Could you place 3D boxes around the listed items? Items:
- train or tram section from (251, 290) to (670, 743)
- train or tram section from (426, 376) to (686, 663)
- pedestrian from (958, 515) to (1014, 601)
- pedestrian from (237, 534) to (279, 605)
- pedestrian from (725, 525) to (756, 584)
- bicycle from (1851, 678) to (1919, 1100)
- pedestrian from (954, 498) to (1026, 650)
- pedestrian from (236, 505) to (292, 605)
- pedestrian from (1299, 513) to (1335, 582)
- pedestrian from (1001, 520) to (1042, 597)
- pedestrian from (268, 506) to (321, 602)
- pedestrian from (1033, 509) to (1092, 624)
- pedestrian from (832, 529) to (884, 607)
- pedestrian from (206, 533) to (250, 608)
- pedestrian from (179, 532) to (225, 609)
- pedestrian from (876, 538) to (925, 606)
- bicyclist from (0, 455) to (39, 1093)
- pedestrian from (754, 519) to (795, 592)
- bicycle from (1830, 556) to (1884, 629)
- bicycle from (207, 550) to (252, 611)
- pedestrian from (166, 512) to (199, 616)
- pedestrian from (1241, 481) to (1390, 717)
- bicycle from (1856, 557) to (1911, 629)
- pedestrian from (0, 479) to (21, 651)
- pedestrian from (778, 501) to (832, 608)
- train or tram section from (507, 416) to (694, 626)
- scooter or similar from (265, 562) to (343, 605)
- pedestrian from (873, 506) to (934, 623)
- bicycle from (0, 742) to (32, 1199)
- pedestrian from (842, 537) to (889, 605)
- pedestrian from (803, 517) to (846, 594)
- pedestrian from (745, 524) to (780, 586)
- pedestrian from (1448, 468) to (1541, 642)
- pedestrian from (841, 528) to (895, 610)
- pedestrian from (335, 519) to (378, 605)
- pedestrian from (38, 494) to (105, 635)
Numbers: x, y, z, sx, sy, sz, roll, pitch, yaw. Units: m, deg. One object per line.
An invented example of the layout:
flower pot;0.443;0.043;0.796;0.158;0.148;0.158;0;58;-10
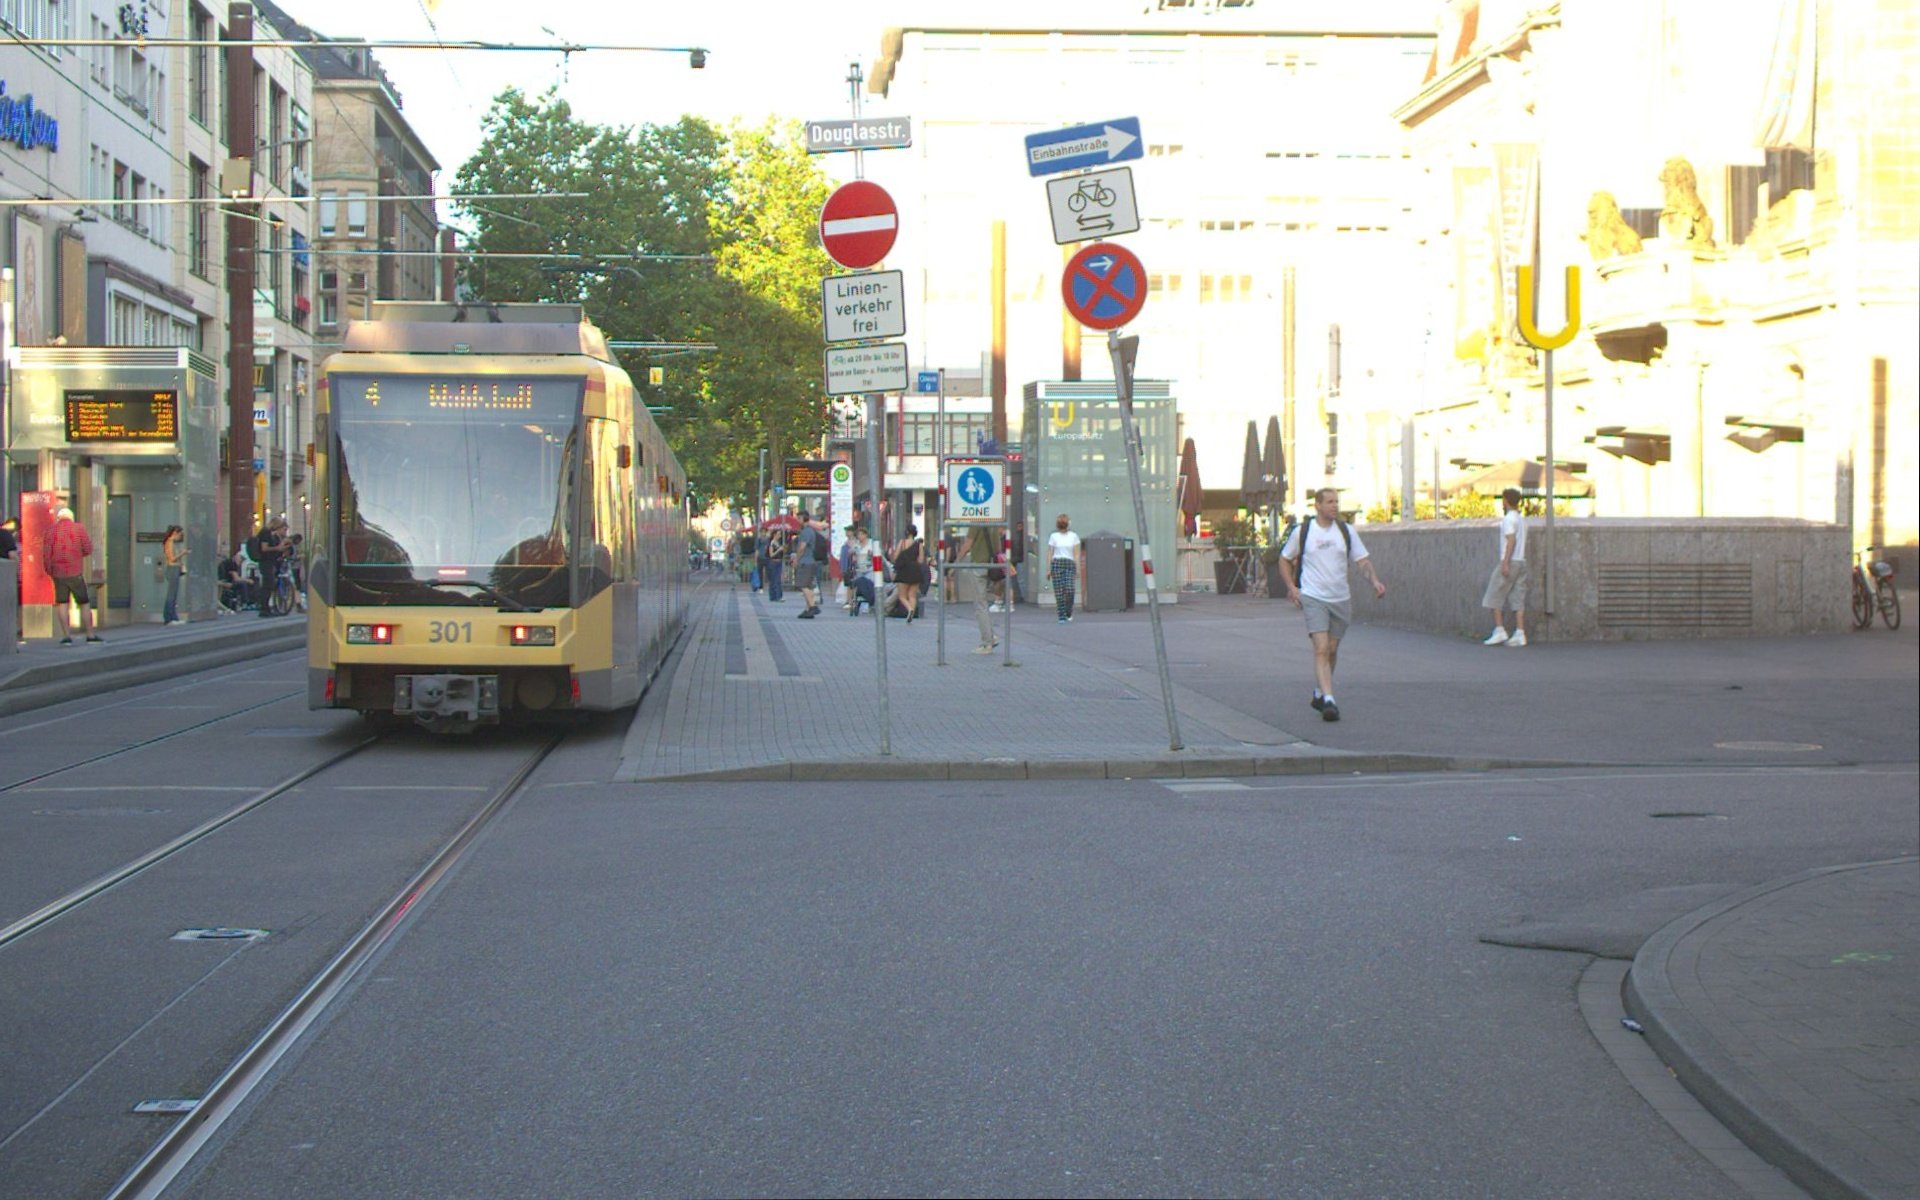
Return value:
train or tram section;-4.256;-0.765;32.395;2.800;3.308;14.511;0;1;-4
train or tram section;-5.234;-1.086;46.891;2.800;3.308;14.511;0;1;-4
pedestrian;0.508;-0.826;67.036;0.767;1.655;0.794;-1;1;-44
pedestrian;-13.635;-0.591;66.813;0.707;1.374;0.720;0;0;-4
pedestrian;-6.245;-1.293;97.758;0.767;1.655;0.794;0;1;6
bicycle;3.458;0.758;9.384;1.852;1.105;0.667;-1;1;-6
pedestrian;0.339;-0.299;39.377;0.718;1.719;0.709;0;0;-8
pedestrian;-12.109;-0.778;59.840;0.707;1.719;0.775;0;0;-34
pedestrian;9.509;-1.393;91.563;0.773;1.818;0.850;0;1;-6
pedestrian;1.330;-0.903;74.068;0.792;1.655;0.769;0;1;8
pedestrian;-11.924;-0.820;61.590;0.707;1.719;0.775;0;0;-32
pedestrian;1.650;-0.543;55.454;0.773;1.817;0.940;-1;1;-7
pedestrian;-2.076;-0.653;70.014;0.768;1.573;0.794;1;1;26
pedestrian;-13.539;-0.551;63.625;0.707;1.374;0.720;0;0;-4
pedestrian;-13.567;-0.525;61.520;0.707;1.374;0.720;0;0;-4
pedestrian;-1.075;-0.512;61.905;0.792;1.217;0.769;0;1;-7
bicyclist;-2.810;0.388;8.276;0.996;1.497;0.857;1;1;-23
pedestrian;-4.206;-1.013;77.988;0.767;1.655;0.794;0;1;8
bicycle;10.970;-0.095;42.041;0.315;0.864;1.000;-1;1;-5
bicycle;-13.984;-0.384;65.786;0.433;1.138;1.618;0;1;-28
pedestrian;-12.191;-0.561;53.906;0.511;1.612;0.505;0;0;-12
pedestrian;2.861;-0.011;27.781;1.013;1.857;1.043;1;1;-3
bicycle;11.295;-0.091;42.061;0.315;0.864;1.000;-1;1;-5
pedestrian;-10.962;-0.393;38.624;0.713;1.918;0.709;0;0;-8
pedestrian;-2.657;-0.778;58.950;0.733;1.817;0.820;0;1;-18
train or tram section;-6.220;-1.396;61.387;2.800;3.308;14.511;0;1;-4
scooter or similar;-12.770;-0.321;66.976;0.558;0.828;1.522;0;0;35
pedestrian;-0.890;-0.563;53.941;0.733;1.817;0.820;0;1;-18
bicycle;-2.828;0.837;8.290;0.815;1.069;2.114;1;1;-24
pedestrian;-1.727;-0.530;62.675;0.792;1.217;0.769;0;1;-7
pedestrian;-2.950;-0.971;74.941;0.792;1.655;0.769;0;1;8
pedestrian;-5.307;-1.215;92.384;0.792;1.655;0.769;0;1;8
pedestrian;6.250;-0.526;40.216;0.914;2.007;0.773;1;1;-2
pedestrian;-1.762;-0.599;65.913;0.768;1.573;0.794;1;1;26
pedestrian;-12.133;-0.762;69.163;0.773;1.719;0.709;0;0;-4
pedestrian;-10.802;-0.427;41.800;0.713;1.692;0.786;0;0;-9
